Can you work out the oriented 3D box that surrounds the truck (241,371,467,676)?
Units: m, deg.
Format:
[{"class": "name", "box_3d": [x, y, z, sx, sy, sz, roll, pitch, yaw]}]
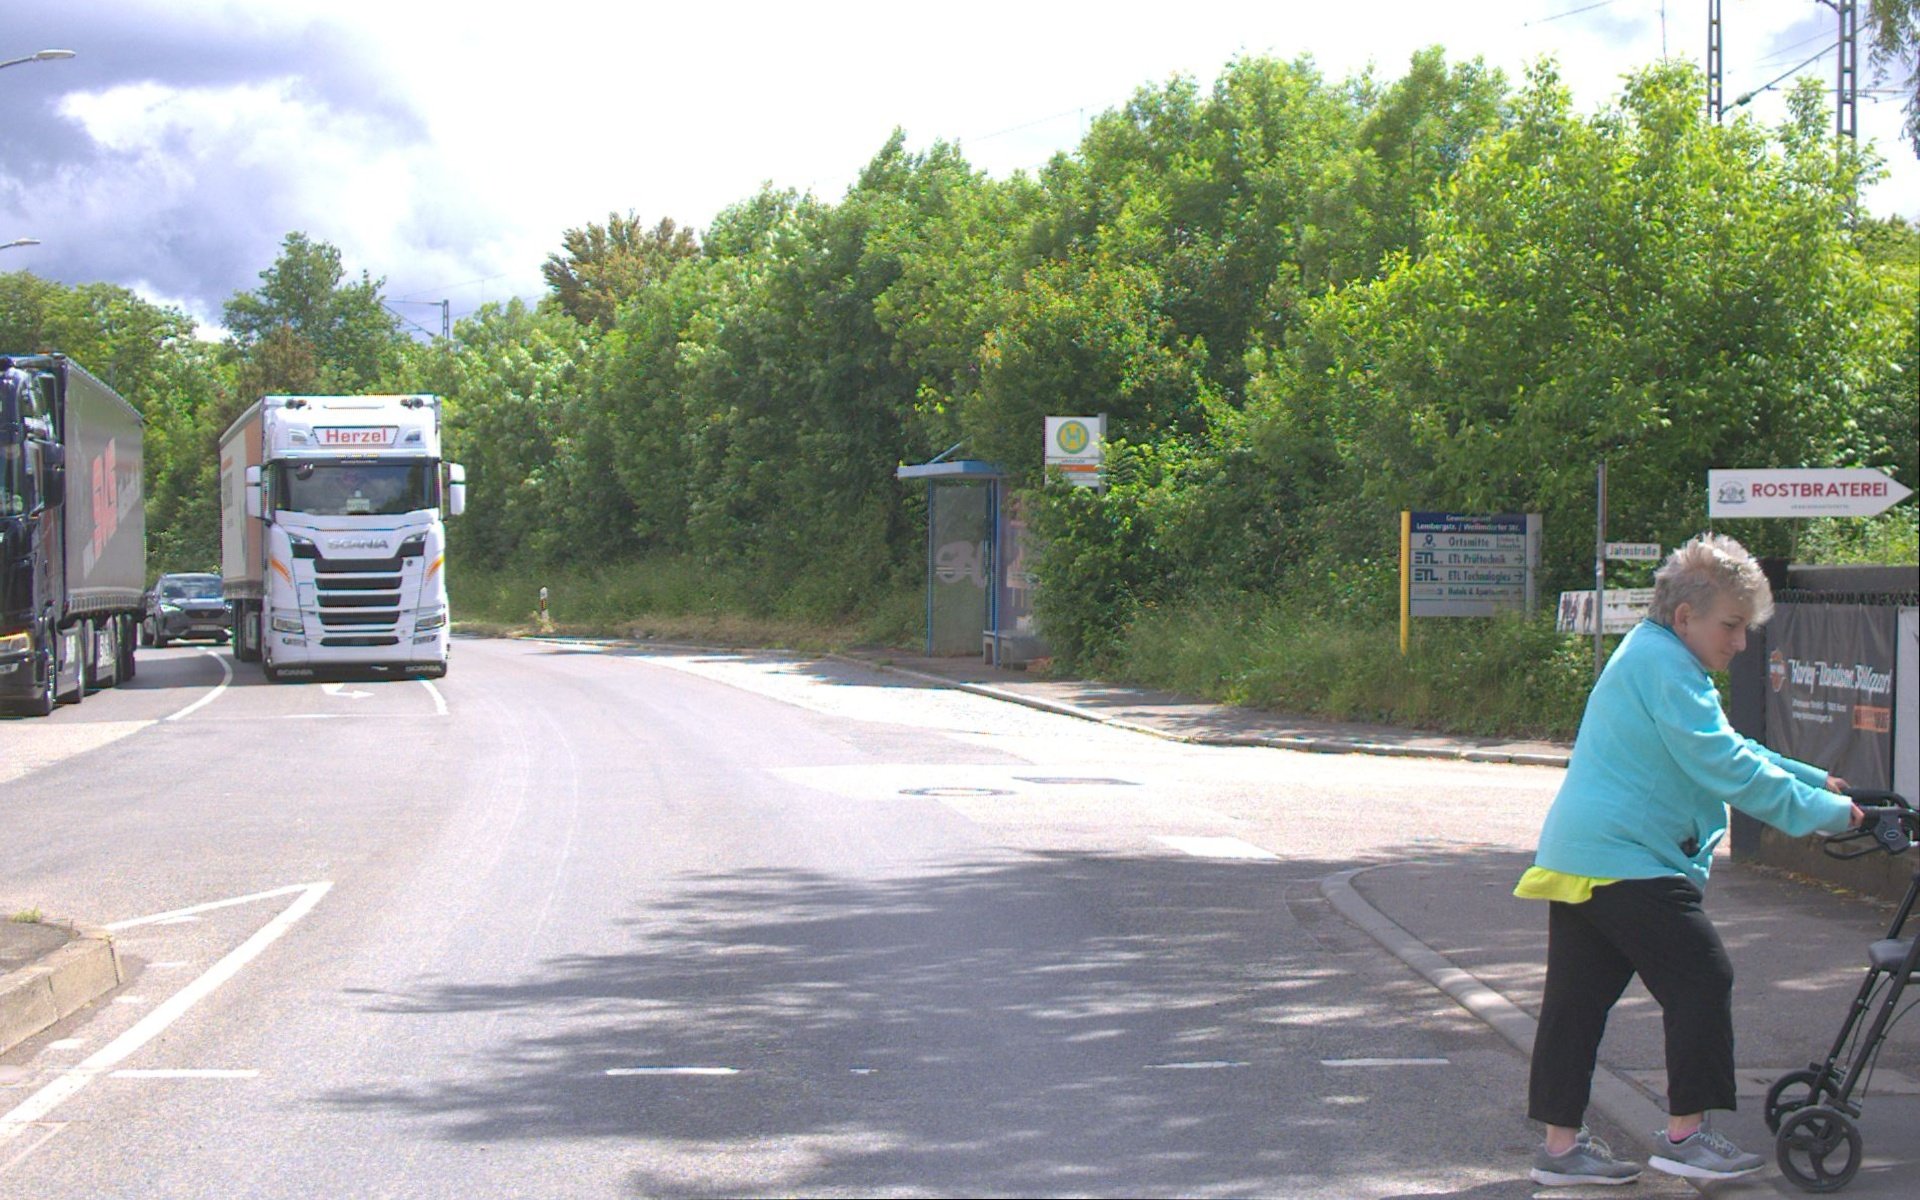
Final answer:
[{"class": "truck", "box_3d": [-8.730, -1.039, 49.144, 2.770, 4.105, 4.988, 1, 0, -14]}]

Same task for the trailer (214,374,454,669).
[{"class": "trailer", "box_3d": [-10.447, -1.142, 56.023, 2.770, 4.131, 15.355, 1, 0, -14]}]

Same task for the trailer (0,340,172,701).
[{"class": "trailer", "box_3d": [-12.531, -0.942, 46.194, 2.798, 4.039, 15.560, 1, 0, -9]}]

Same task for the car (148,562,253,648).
[{"class": "car", "box_3d": [-15.751, 0.086, 71.181, 1.993, 1.700, 4.001, 1, 0, -14]}]

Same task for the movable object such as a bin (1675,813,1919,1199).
[{"class": "movable object such as a bin", "box_3d": [2.104, 0.951, 7.899, 0.746, 0.868, 0.671, 1, 0, -3]}]

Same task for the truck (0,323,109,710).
[{"class": "truck", "box_3d": [-11.359, -0.903, 38.945, 2.798, 4.039, 6.503, 1, 0, -9]}]

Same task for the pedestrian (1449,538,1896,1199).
[{"class": "pedestrian", "box_3d": [1.614, 0.635, 7.895, 0.838, 1.538, 0.734, 0, 0, -3]}]

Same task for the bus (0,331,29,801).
[{"class": "bus", "box_3d": [-7.459, -0.197, 16.615, 2.718, 3.020, 12.266, 0, 0, -1]}]
